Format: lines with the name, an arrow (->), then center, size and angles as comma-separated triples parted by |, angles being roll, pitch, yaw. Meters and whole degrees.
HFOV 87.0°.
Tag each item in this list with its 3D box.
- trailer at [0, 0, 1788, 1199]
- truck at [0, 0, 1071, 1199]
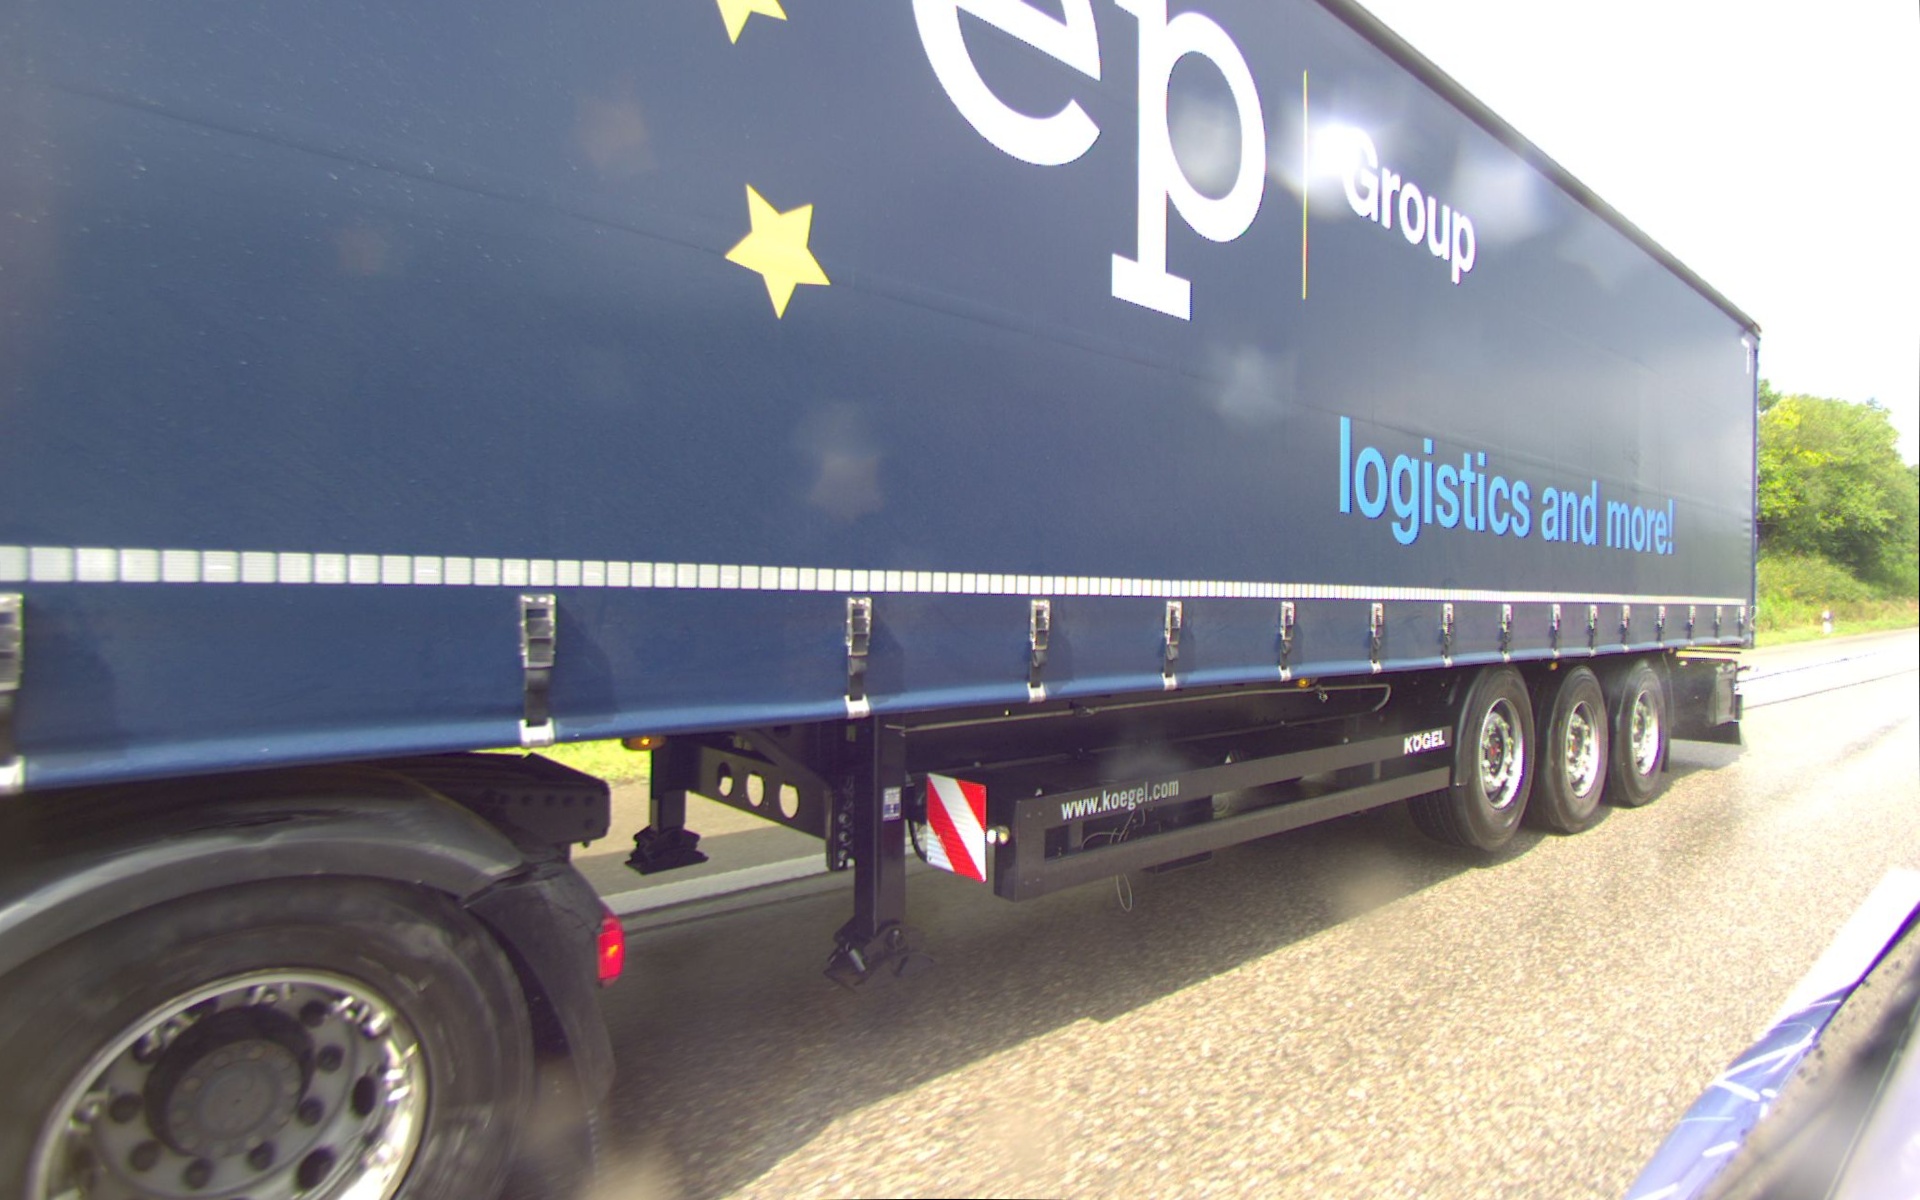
trailer -> 1.243, -0.644, 5.447 | 13.818, 4.046, 2.639 | -1, 0, -41
truck -> -3.255, -0.606, 1.556 | 7.161, 4.046, 2.612 | 0, 0, -40
